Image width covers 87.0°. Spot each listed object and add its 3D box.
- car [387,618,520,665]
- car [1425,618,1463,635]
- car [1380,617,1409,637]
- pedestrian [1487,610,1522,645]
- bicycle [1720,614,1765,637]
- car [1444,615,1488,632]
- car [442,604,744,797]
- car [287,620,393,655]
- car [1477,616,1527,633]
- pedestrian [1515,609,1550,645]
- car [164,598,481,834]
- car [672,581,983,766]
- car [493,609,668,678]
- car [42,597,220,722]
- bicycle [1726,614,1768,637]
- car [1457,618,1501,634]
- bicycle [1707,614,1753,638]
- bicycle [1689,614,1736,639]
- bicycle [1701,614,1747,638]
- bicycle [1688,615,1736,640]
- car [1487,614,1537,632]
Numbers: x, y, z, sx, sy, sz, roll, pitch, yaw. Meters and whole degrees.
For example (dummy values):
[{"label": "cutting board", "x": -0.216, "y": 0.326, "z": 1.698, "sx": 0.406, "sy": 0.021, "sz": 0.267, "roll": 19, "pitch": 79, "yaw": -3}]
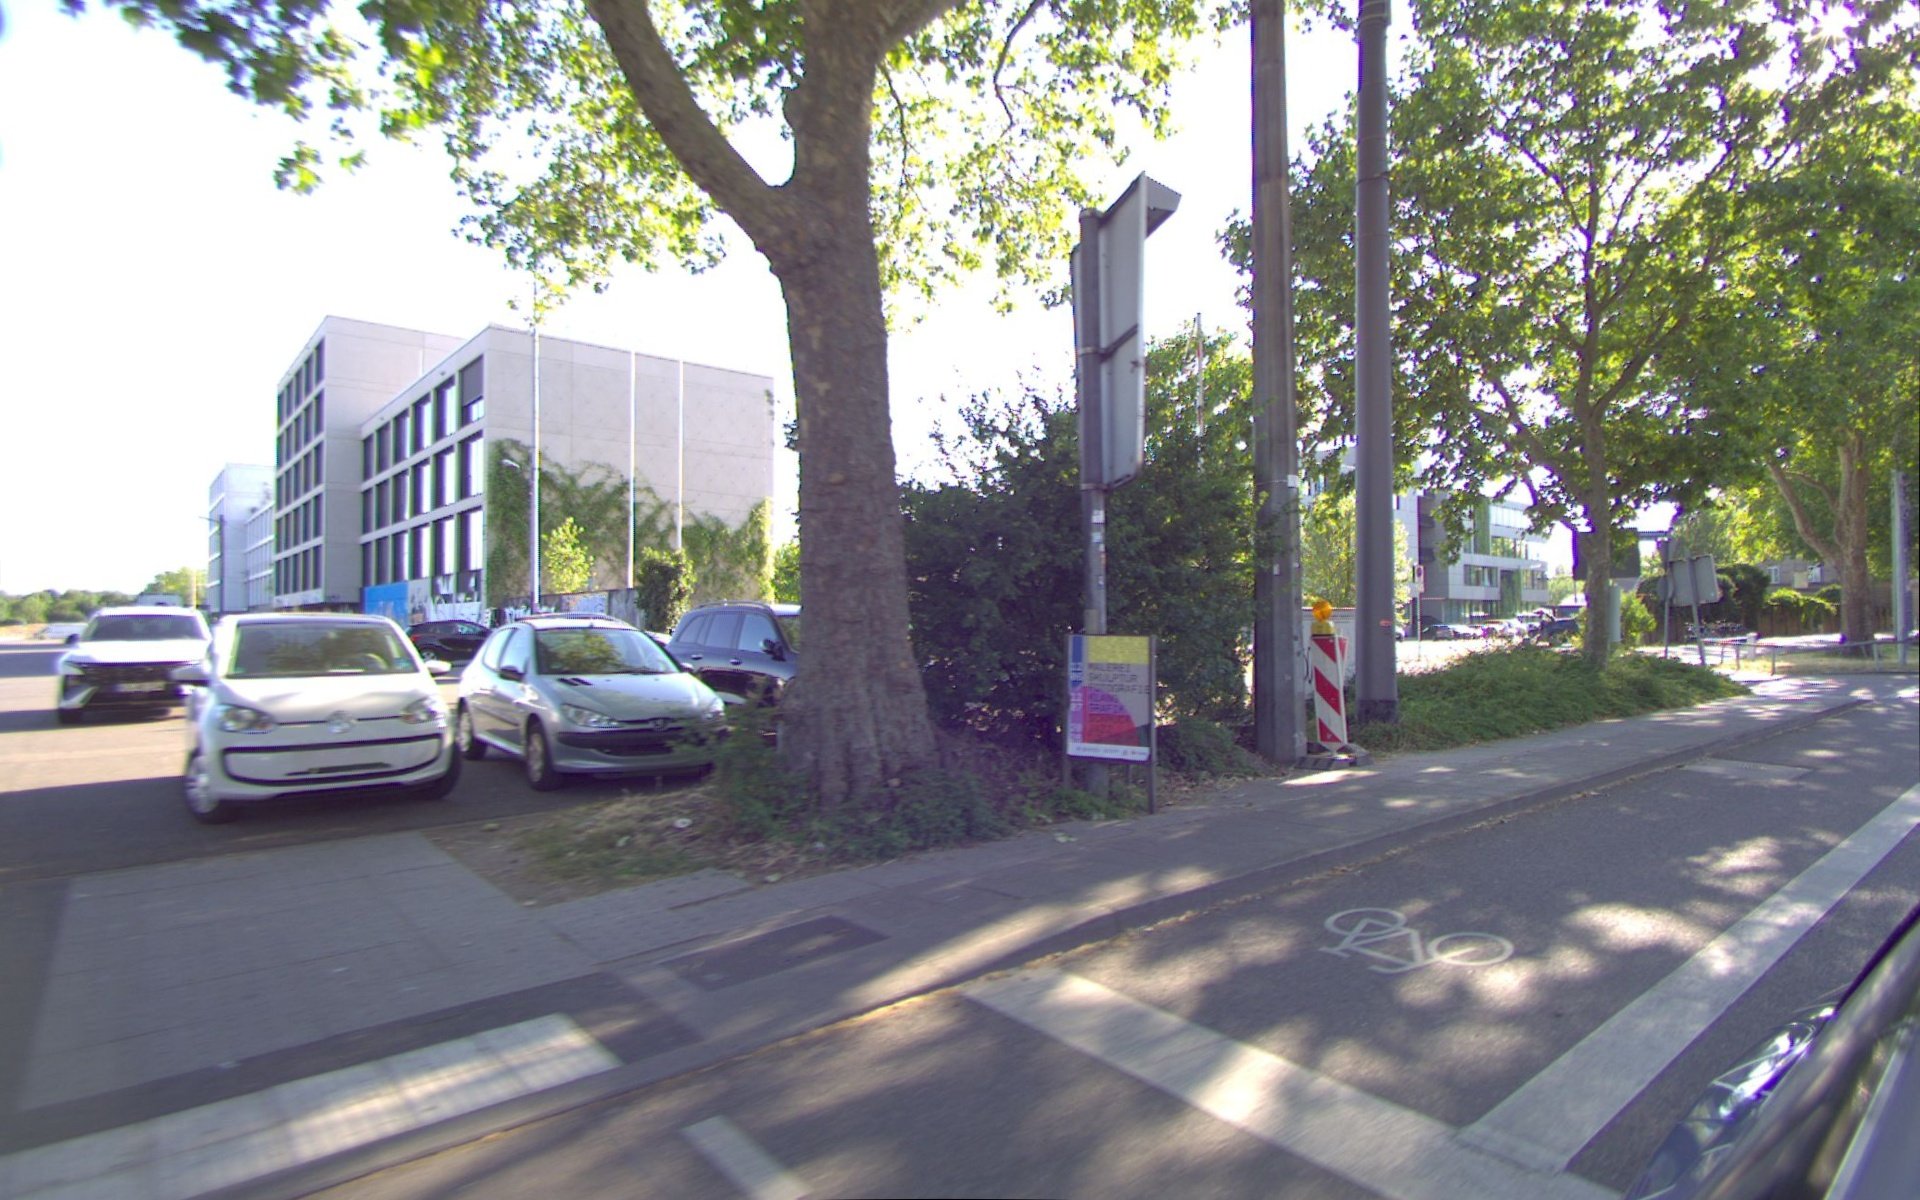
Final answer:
[{"label": "car", "x": -18.274, "y": 1.452, "z": 36.610, "sx": 3.933, "sy": 1.576, "sz": 1.919, "roll": 0, "pitch": -2, "yaw": -44}, {"label": "car", "x": 44.972, "y": 2.450, "z": 94.075, "sx": 1.618, "sy": 1.541, "sz": 3.666, "roll": 0, "pitch": -1, "yaw": -2}, {"label": "car", "x": 36.999, "y": 2.267, "z": 86.252, "sx": 1.626, "sy": 1.686, "sz": 3.648, "roll": -1, "pitch": -1, "yaw": 15}, {"label": "pedestrian", "x": 32.175, "y": 1.618, "z": 59.823, "sx": 1.027, "sy": 2.040, "sz": 1.397, "roll": 0, "pitch": -2, "yaw": -28}, {"label": "bicycle", "x": 40.470, "y": 1.318, "z": 52.349, "sx": 0.432, "sy": 1.135, "sz": 1.776, "roll": 1, "pitch": -1, "yaw": -41}, {"label": "car", "x": 49.860, "y": 2.320, "z": 99.769, "sx": 1.615, "sy": 1.584, "sz": 3.722, "roll": 0, "pitch": -1, "yaw": -21}, {"label": "car", "x": -3.652, "y": 0.813, "z": 9.728, "sx": 1.648, "sy": 1.481, "sz": 3.601, "roll": 1, "pitch": -2, "yaw": -39}, {"label": "car", "x": -30.767, "y": 1.844, "z": 50.238, "sx": 4.287, "sy": 1.633, "sz": 1.857, "roll": 0, "pitch": -2, "yaw": -39}, {"label": "car", "x": 55.231, "y": 2.535, "z": 103.190, "sx": 1.757, "sy": 1.667, "sz": 4.373, "roll": 0, "pitch": -1, "yaw": -21}, {"label": "pedestrian", "x": 33.636, "y": 1.577, "z": 59.510, "sx": 1.027, "sy": 2.040, "sz": 1.397, "roll": 0, "pitch": -2, "yaw": -28}, {"label": "car", "x": -5.592, "y": 0.794, "z": 8.649, "sx": 1.854, "sy": 1.524, "sz": 3.894, "roll": 1, "pitch": -2, "yaw": -39}, {"label": "car", "x": -1.716, "y": 0.756, "z": 11.947, "sx": 1.800, "sy": 1.787, "sz": 3.994, "roll": 0, "pitch": -2, "yaw": -39}, {"label": "car", "x": -9.690, "y": 1.057, "z": 25.987, "sx": 3.930, "sy": 1.630, "sz": 1.567, "roll": 0, "pitch": -2, "yaw": -41}, {"label": "car", "x": -12.837, "y": 0.849, "z": 15.932, "sx": 1.882, "sy": 1.680, "sz": 4.471, "roll": 1, "pitch": -2, "yaw": -36}, {"label": "bicycle", "x": 41.260, "y": 1.325, "z": 53.037, "sx": 0.432, "sy": 1.135, "sz": 1.690, "roll": 1, "pitch": -1, "yaw": -41}, {"label": "car", "x": 51.959, "y": 2.608, "z": 101.362, "sx": 1.615, "sy": 1.584, "sz": 3.672, "roll": 0, "pitch": -1, "yaw": -22}, {"label": "bicycle", "x": 38.241, "y": 1.299, "z": 50.293, "sx": 0.432, "sy": 1.135, "sz": 1.776, "roll": 1, "pitch": -1, "yaw": -41}, {"label": "bicycle", "x": 36.514, "y": 1.272, "z": 49.095, "sx": 0.432, "sy": 1.135, "sz": 1.776, "roll": 1, "pitch": -1, "yaw": -41}, {"label": "bicycle", "x": 37.432, "y": 1.285, "z": 49.597, "sx": 0.432, "sy": 1.135, "sz": 1.776, "roll": 1, "pitch": -1, "yaw": -41}, {"label": "bicycle", "x": 35.126, "y": 1.258, "z": 47.310, "sx": 1.772, "sy": 1.135, "sz": 0.432, "roll": 0, "pitch": -1, "yaw": 43}, {"label": "car", "x": 57.361, "y": 2.413, "z": 105.205, "sx": 1.930, "sy": 1.839, "sz": 4.374, "roll": 0, "pitch": -1, "yaw": -17}]
